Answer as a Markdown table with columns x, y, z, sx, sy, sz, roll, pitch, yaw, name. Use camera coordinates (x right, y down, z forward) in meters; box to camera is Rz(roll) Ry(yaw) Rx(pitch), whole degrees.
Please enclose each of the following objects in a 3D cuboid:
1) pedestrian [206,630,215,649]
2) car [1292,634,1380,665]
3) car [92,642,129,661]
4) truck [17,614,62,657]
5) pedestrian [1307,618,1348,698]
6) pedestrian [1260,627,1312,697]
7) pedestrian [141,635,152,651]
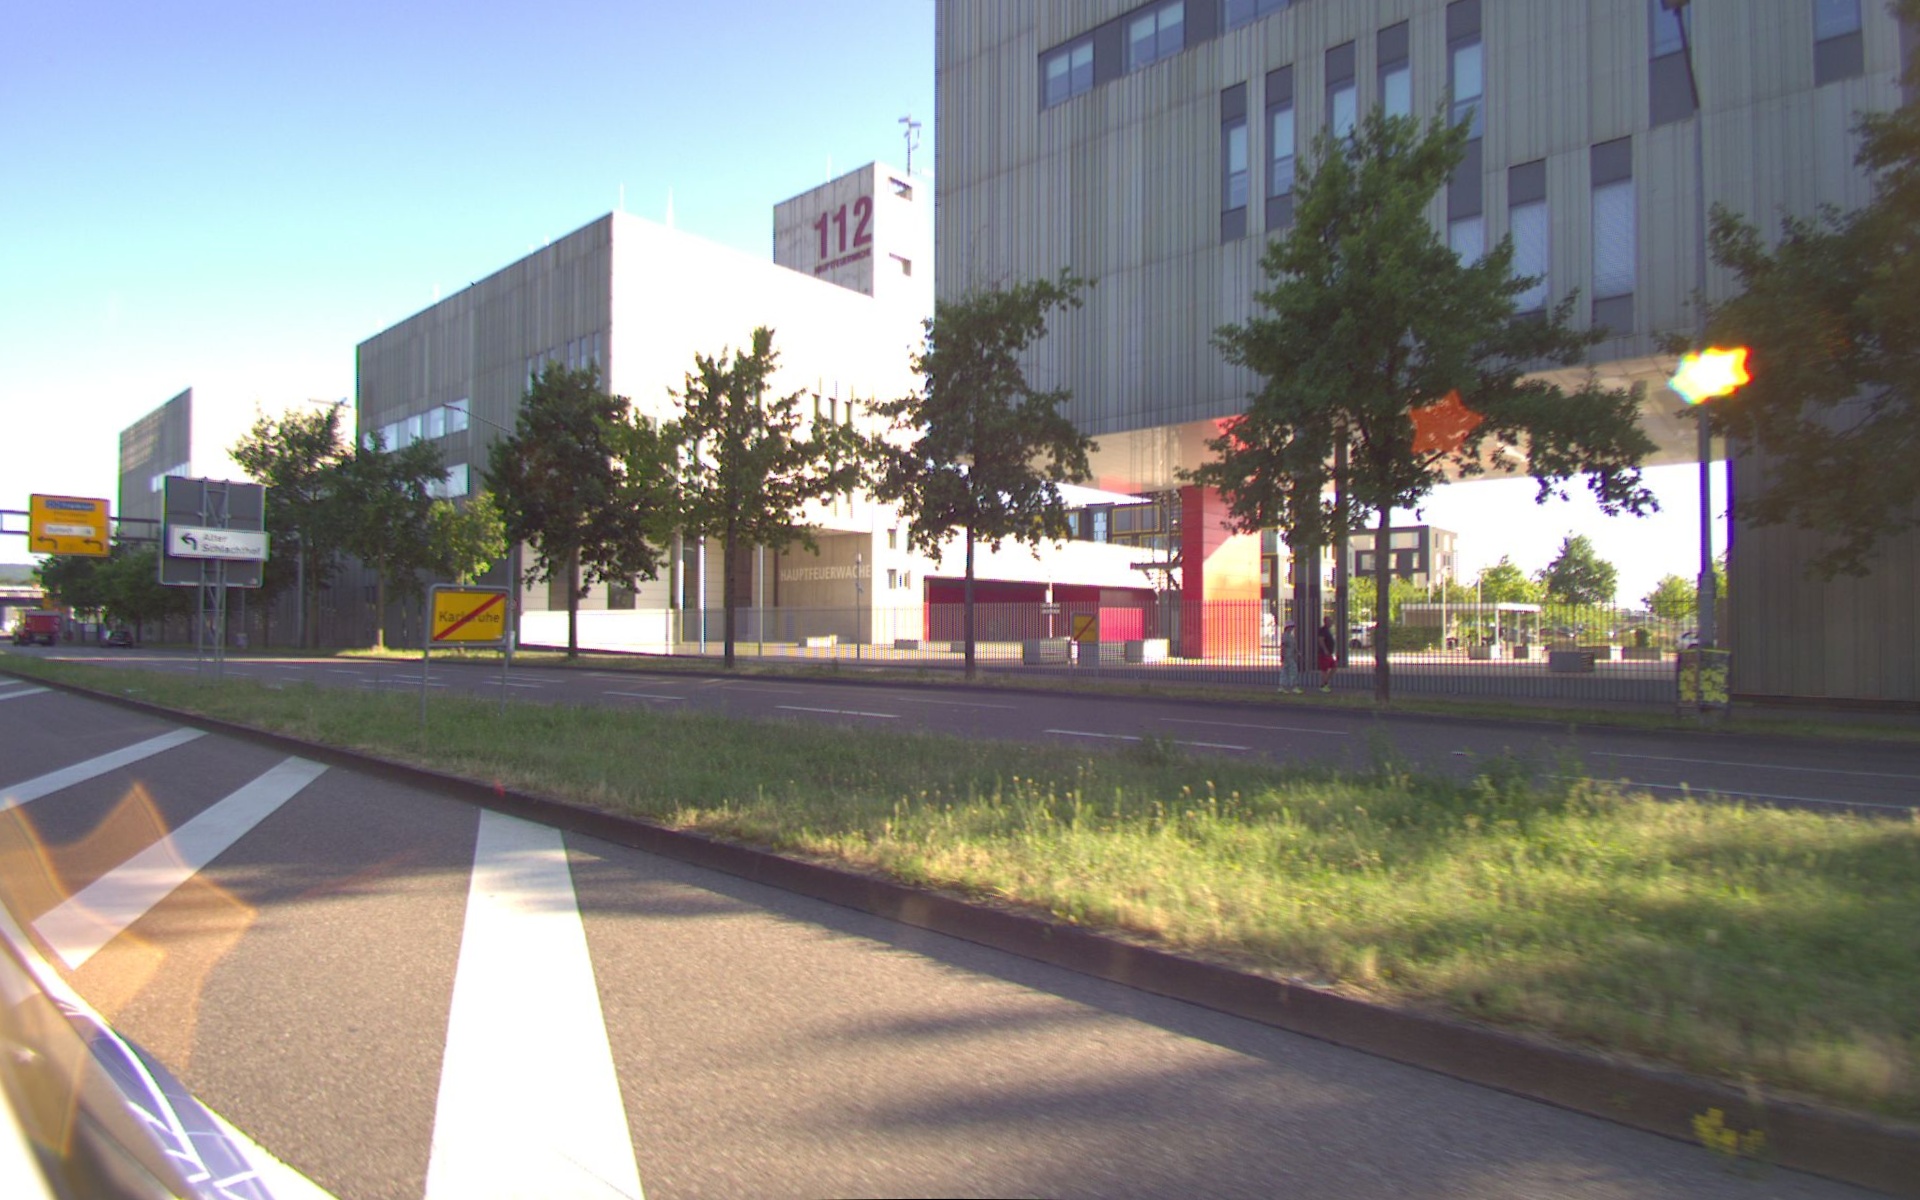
| x | y | z | sx | sy | sz | roll | pitch | yaw | name |
| --- | --- | --- | --- | --- | --- | --- | --- | --- | --- |
| -72.503 | 3.816 | 97.876 | 0.649 | 1.781 | 0.596 | -2 | -2 | 43 | pedestrian |
| 23.516 | 3.073 | 63.411 | 4.783 | 1.889 | 1.885 | -2 | -2 | 40 | car |
| -69.630 | 4.189 | 82.948 | 3.861 | 1.524 | 1.580 | -2 | -2 | 38 | car |
| -87.703 | 3.368 | 96.477 | 2.962 | 3.840 | 10.100 | 1 | -2 | -42 | truck |
| 8.745 | 1.362 | 24.068 | 0.716 | 1.855 | 0.626 | -2 | -2 | 43 | pedestrian |
| 7.687 | 1.442 | 23.872 | 0.909 | 1.614 | 0.767 | -2 | -2 | 43 | pedestrian |
| -85.074 | 4.487 | 105.836 | 0.725 | 1.641 | 0.689 | -2 | -3 | 41 | pedestrian |
